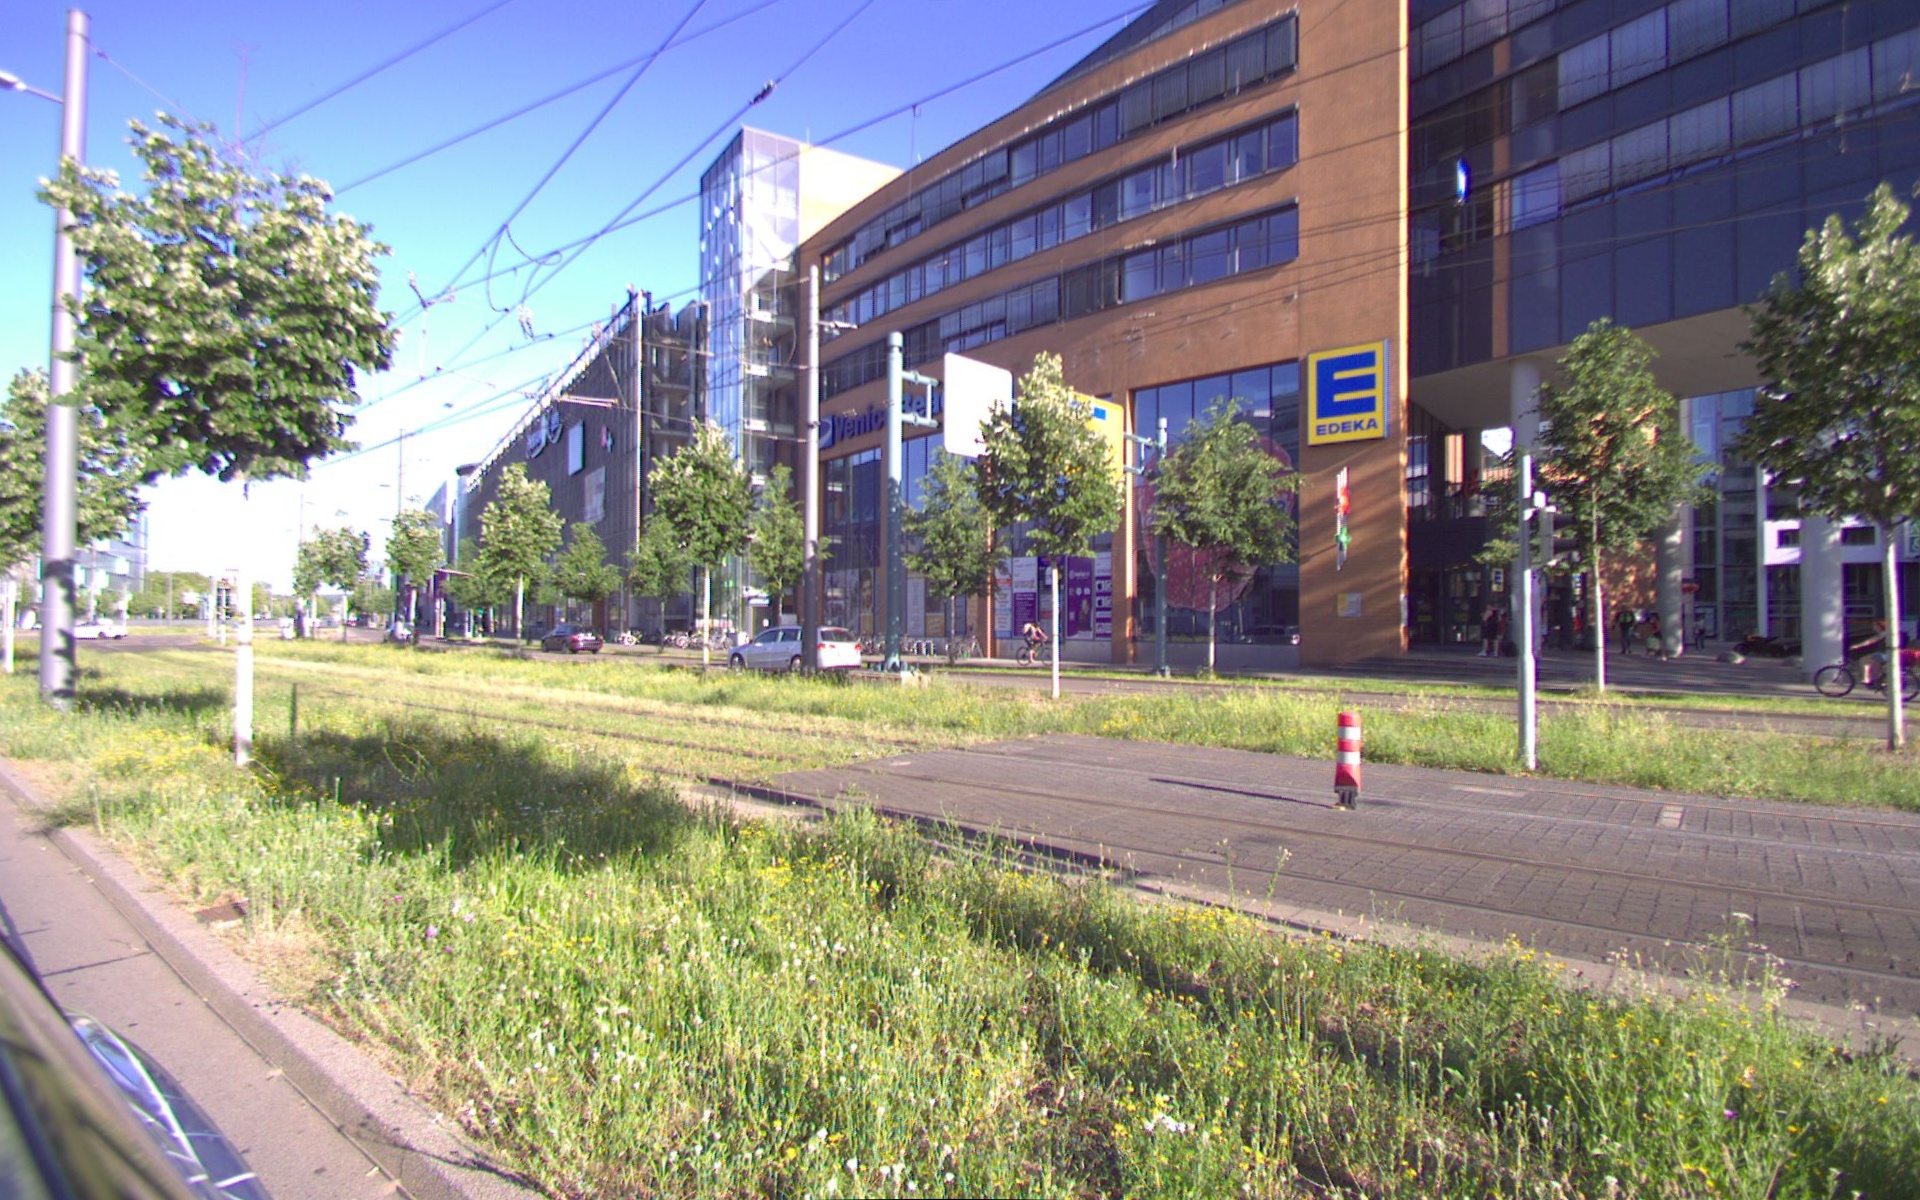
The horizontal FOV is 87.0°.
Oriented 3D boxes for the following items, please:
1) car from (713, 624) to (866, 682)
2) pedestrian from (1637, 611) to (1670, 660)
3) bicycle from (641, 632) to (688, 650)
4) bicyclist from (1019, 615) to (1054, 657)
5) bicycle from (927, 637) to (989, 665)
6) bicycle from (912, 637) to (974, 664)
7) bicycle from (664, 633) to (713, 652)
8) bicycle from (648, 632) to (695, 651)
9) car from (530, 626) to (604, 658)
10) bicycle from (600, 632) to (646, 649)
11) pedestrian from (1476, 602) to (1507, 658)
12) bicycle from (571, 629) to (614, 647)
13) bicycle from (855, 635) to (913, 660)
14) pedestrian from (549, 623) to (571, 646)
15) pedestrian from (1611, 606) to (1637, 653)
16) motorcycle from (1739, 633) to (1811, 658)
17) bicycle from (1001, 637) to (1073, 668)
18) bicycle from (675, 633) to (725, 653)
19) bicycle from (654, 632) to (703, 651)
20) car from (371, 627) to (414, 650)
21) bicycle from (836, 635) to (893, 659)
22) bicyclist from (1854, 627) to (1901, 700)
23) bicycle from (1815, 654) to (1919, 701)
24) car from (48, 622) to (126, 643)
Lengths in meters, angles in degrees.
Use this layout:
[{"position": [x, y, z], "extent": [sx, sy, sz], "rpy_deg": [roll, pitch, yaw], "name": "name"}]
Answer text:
[{"position": [-4.968, 1.469, 29.101], "extent": [4.798, 1.539, 1.606], "rpy_deg": [-1, -2, 39], "name": "car"}, {"position": [23.535, 1.194, 34.333], "extent": [0.688, 1.635, 0.735], "rpy_deg": [1, -2, -37], "name": "pedestrian"}, {"position": [-18.087, 2.495, 61.995], "extent": [2.648, 1.112, 0.897], "rpy_deg": [1, -3, -39], "name": "bicycle"}, {"position": [2.833, 1.340, 37.563], "extent": [0.939, 1.560, 0.883], "rpy_deg": [-2, -3, 41], "name": "bicyclist"}, {"position": [-0.068, 2.130, 42.601], "extent": [2.648, 1.112, 0.897], "rpy_deg": [1, -3, -39], "name": "bicycle"}, {"position": [-0.722, 2.165, 43.420], "extent": [2.648, 1.112, 0.897], "rpy_deg": [1, -3, -39], "name": "bicycle"}, {"position": [-15.828, 2.461, 59.115], "extent": [2.648, 1.112, 0.897], "rpy_deg": [1, -3, -39], "name": "bicycle"}, {"position": [-17.472, 2.483, 61.312], "extent": [2.648, 1.112, 0.827], "rpy_deg": [1, -3, -39], "name": "bicycle"}, {"position": [-19.594, 2.069, 50.353], "extent": [4.354, 1.539, 1.605], "rpy_deg": [-1, -3, 42], "name": "car"}, {"position": [-21.975, 2.636, 66.017], "extent": [2.648, 1.112, 0.897], "rpy_deg": [1, -3, -39], "name": "bicycle"}, {"position": [16.491, 0.920, 31.405], "extent": [0.698, 1.718, 0.724], "rpy_deg": [-1, -2, 40], "name": "pedestrian"}, {"position": [-25.573, 2.640, 70.500], "extent": [2.648, 1.198, 0.897], "rpy_deg": [1, -3, -39], "name": "bicycle"}, {"position": [-3.549, 2.206, 47.166], "extent": [2.648, 1.112, 0.897], "rpy_deg": [1, -3, -39], "name": "bicycle"}, {"position": [-28.768, 2.481, 72.842], "extent": [1.093, 1.694, 1.059], "rpy_deg": [-1, -2, 35], "name": "pedestrian"}, {"position": [24.418, 1.087, 37.211], "extent": [0.698, 1.718, 0.724], "rpy_deg": [-1, -2, 40], "name": "pedestrian"}, {"position": [35.803, 1.980, 44.467], "extent": [0.819, 1.066, 2.347], "rpy_deg": [1, -2, -40], "name": "motorcycle"}, {"position": [2.836, 1.920, 37.541], "extent": [2.691, 1.112, 0.883], "rpy_deg": [-2, -3, 42], "name": "bicycle"}, {"position": [-14.749, 2.447, 57.489], "extent": [2.648, 1.112, 0.897], "rpy_deg": [1, -3, -39], "name": "bicycle"}, {"position": [-16.832, 2.474, 60.558], "extent": [2.648, 1.112, 0.897], "rpy_deg": [1, -3, -39], "name": "bicycle"}, {"position": [-39.143, 2.656, 69.761], "extent": [1.603, 1.539, 4.359], "rpy_deg": [3, -3, -43], "name": "car"}, {"position": [-4.518, 2.218, 48.092], "extent": [2.648, 1.112, 0.897], "rpy_deg": [1, -3, -39], "name": "bicycle"}, {"position": [20.007, 1.363, 22.088], "extent": [0.702, 1.541, 0.682], "rpy_deg": [-1, -2, 40], "name": "bicyclist"}, {"position": [20.015, 1.678, 22.082], "extent": [2.065, 0.957, 0.682], "rpy_deg": [-1, -2, 40], "name": "bicycle"}, {"position": [-66.967, 2.506, 77.695], "extent": [4.287, 1.539, 1.681], "rpy_deg": [1, -2, -7], "name": "car"}]
